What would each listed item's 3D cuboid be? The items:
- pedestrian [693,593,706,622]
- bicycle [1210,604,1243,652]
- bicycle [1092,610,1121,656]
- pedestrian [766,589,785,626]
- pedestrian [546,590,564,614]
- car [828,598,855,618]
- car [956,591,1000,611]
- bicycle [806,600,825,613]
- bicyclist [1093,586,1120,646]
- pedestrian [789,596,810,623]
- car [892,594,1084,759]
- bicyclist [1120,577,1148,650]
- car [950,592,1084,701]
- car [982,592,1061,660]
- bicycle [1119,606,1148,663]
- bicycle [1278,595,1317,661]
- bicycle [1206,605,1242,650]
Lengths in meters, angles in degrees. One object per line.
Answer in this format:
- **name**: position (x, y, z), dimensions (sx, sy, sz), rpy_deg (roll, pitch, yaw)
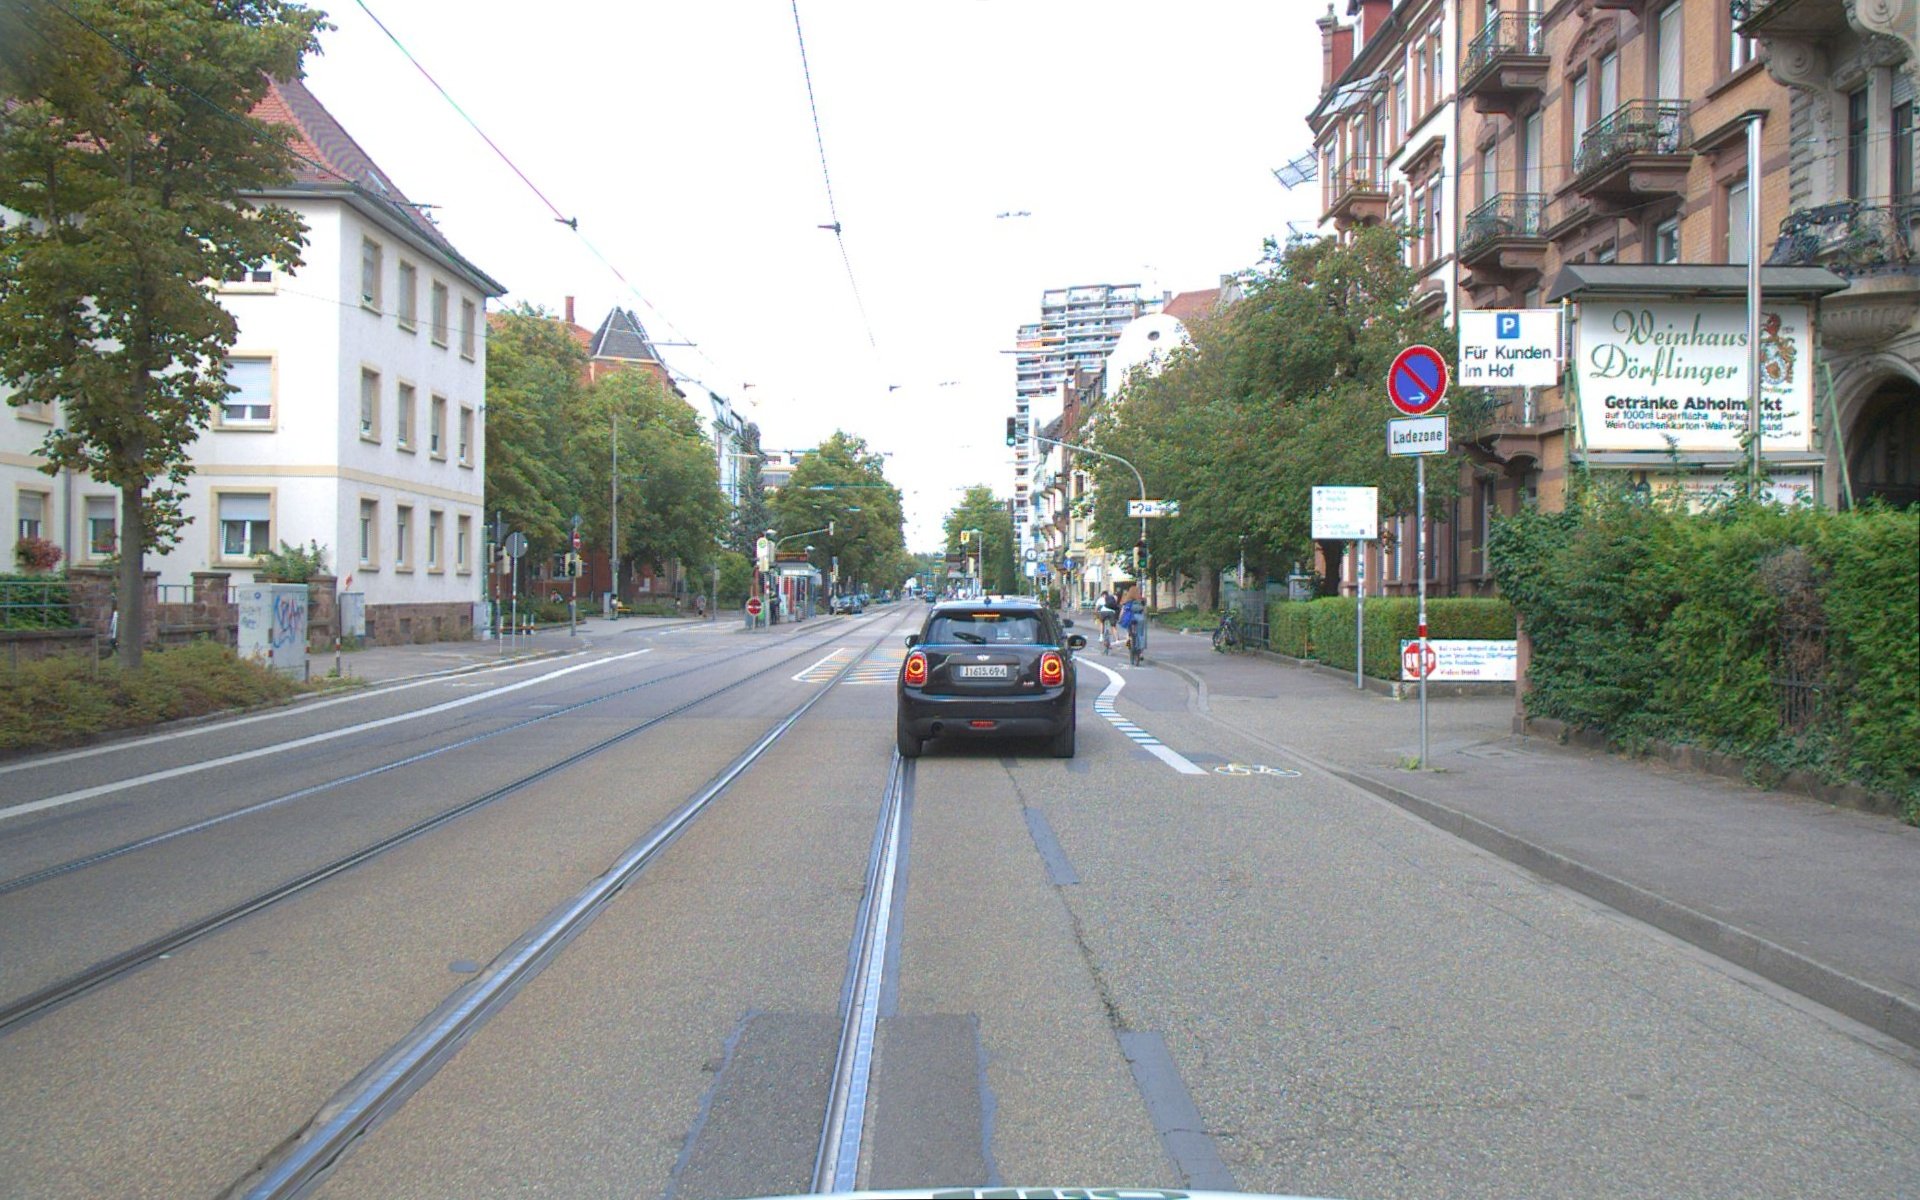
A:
- **pedestrian**: position (-16.182, 0.467, 102.924), dimensions (0.679, 1.749, 0.758), rpy_deg (0, 0, 1)
- **bicycle**: position (6.464, 0.679, 40.195), dimensions (0.498, 1.107, 1.550), rpy_deg (-3, 0, -1)
- **bicycle**: position (3.956, 0.878, 44.648), dimensions (0.670, 1.191, 1.697), rpy_deg (0, 0, 1)
- **pedestrian**: position (-8.288, 0.320, 74.481), dimensions (0.835, 1.649, 0.842), rpy_deg (0, 0, -6)
- **pedestrian**: position (-25.040, 0.123, 102.261), dimensions (0.828, 1.490, 0.721), rpy_deg (0, 0, -42)
- **car**: position (-9.126, 0.613, 127.403), dimensions (1.716, 1.466, 4.000), rpy_deg (2, 0, 1)
- **car**: position (2.128, 0.132, 197.474), dimensions (4.995, 2.312, 2.361), rpy_deg (0, 0, -41)
- **bicycle**: position (-12.709, 0.567, 145.465), dimensions (1.656, 1.138, 0.564), rpy_deg (0, 0, -41)
- **bicyclist**: position (3.953, 0.432, 44.698), dimensions (0.670, 1.591, 0.998), rpy_deg (0, 0, 1)
- **pedestrian**: position (-8.020, 0.484, 82.487), dimensions (1.038, 1.316, 0.985), rpy_deg (0, 0, -6)
- **car**: position (0.346, 0.682, 16.836), dimensions (1.715, 1.466, 4.001), rpy_deg (0, 0, 3)
- **bicyclist**: position (3.771, 0.286, 35.958), dimensions (0.582, 1.577, 1.014), rpy_deg (0, 0, 4)
- **car**: position (0.864, 0.654, 25.307), dimensions (1.887, 1.536, 4.001), rpy_deg (0, 0, 2)
- **car**: position (1.387, 0.562, 37.853), dimensions (1.715, 1.466, 4.480), rpy_deg (0, 0, 2)
- **bicycle**: position (3.766, 0.726, 35.921), dimensions (0.586, 1.191, 1.697), rpy_deg (0, 0, 5)
- **bicycle**: position (6.907, 0.561, 33.874), dimensions (0.505, 1.304, 1.550), rpy_deg (0, 0, 1)
- **bicycle**: position (6.850, 0.703, 42.922), dimensions (0.657, 1.125, 1.672), rpy_deg (0, 0, -1)
